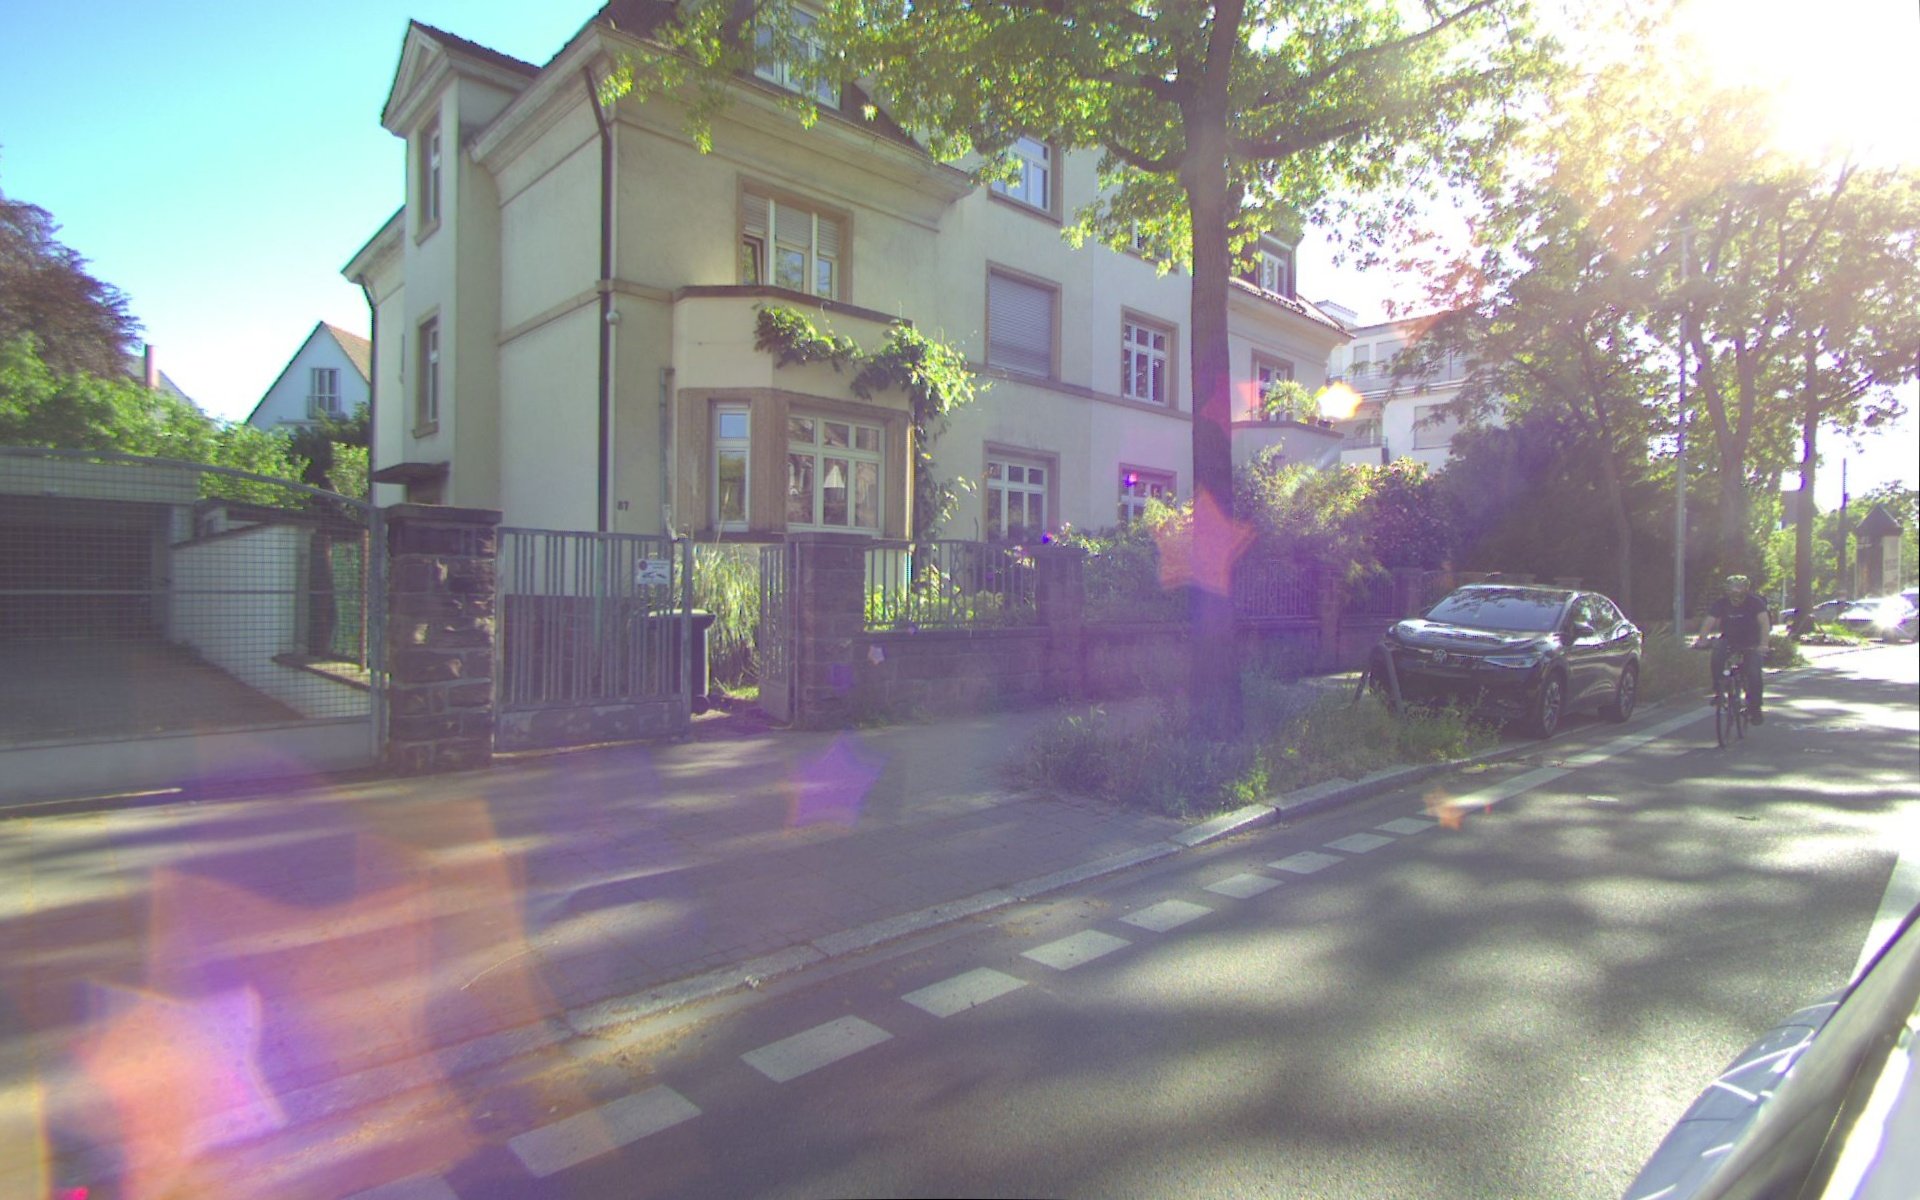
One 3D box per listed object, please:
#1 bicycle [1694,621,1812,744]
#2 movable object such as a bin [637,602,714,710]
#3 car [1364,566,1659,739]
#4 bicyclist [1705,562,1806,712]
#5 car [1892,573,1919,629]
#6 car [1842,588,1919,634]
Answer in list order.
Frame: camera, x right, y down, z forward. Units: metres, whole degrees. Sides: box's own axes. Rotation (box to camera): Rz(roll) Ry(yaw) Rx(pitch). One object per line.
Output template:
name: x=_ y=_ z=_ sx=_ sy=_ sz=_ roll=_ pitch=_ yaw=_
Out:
bicycle: x=8.455 y=0.823 z=10.762 sx=1.868 sy=1.158 sz=0.644 roll=0 pitch=0 yaw=-41
movable object such as a bin: x=-3.065 y=0.571 z=10.845 sx=0.697 sy=1.070 sz=1.093 roll=0 pitch=0 yaw=-20
car: x=6.654 y=0.495 z=12.036 sx=4.021 sy=1.626 sz=1.743 roll=0 pitch=4 yaw=-42
bicyclist: x=8.470 y=0.364 z=10.769 sx=1.095 sy=1.506 sz=0.645 roll=0 pitch=0 yaw=-41
car: x=36.781 y=0.048 z=38.084 sx=4.503 sy=2.039 sz=1.997 roll=0 pitch=1 yaw=-41
car: x=31.546 y=0.336 z=34.422 sx=3.930 sy=1.469 sz=1.785 roll=0 pitch=1 yaw=-41
